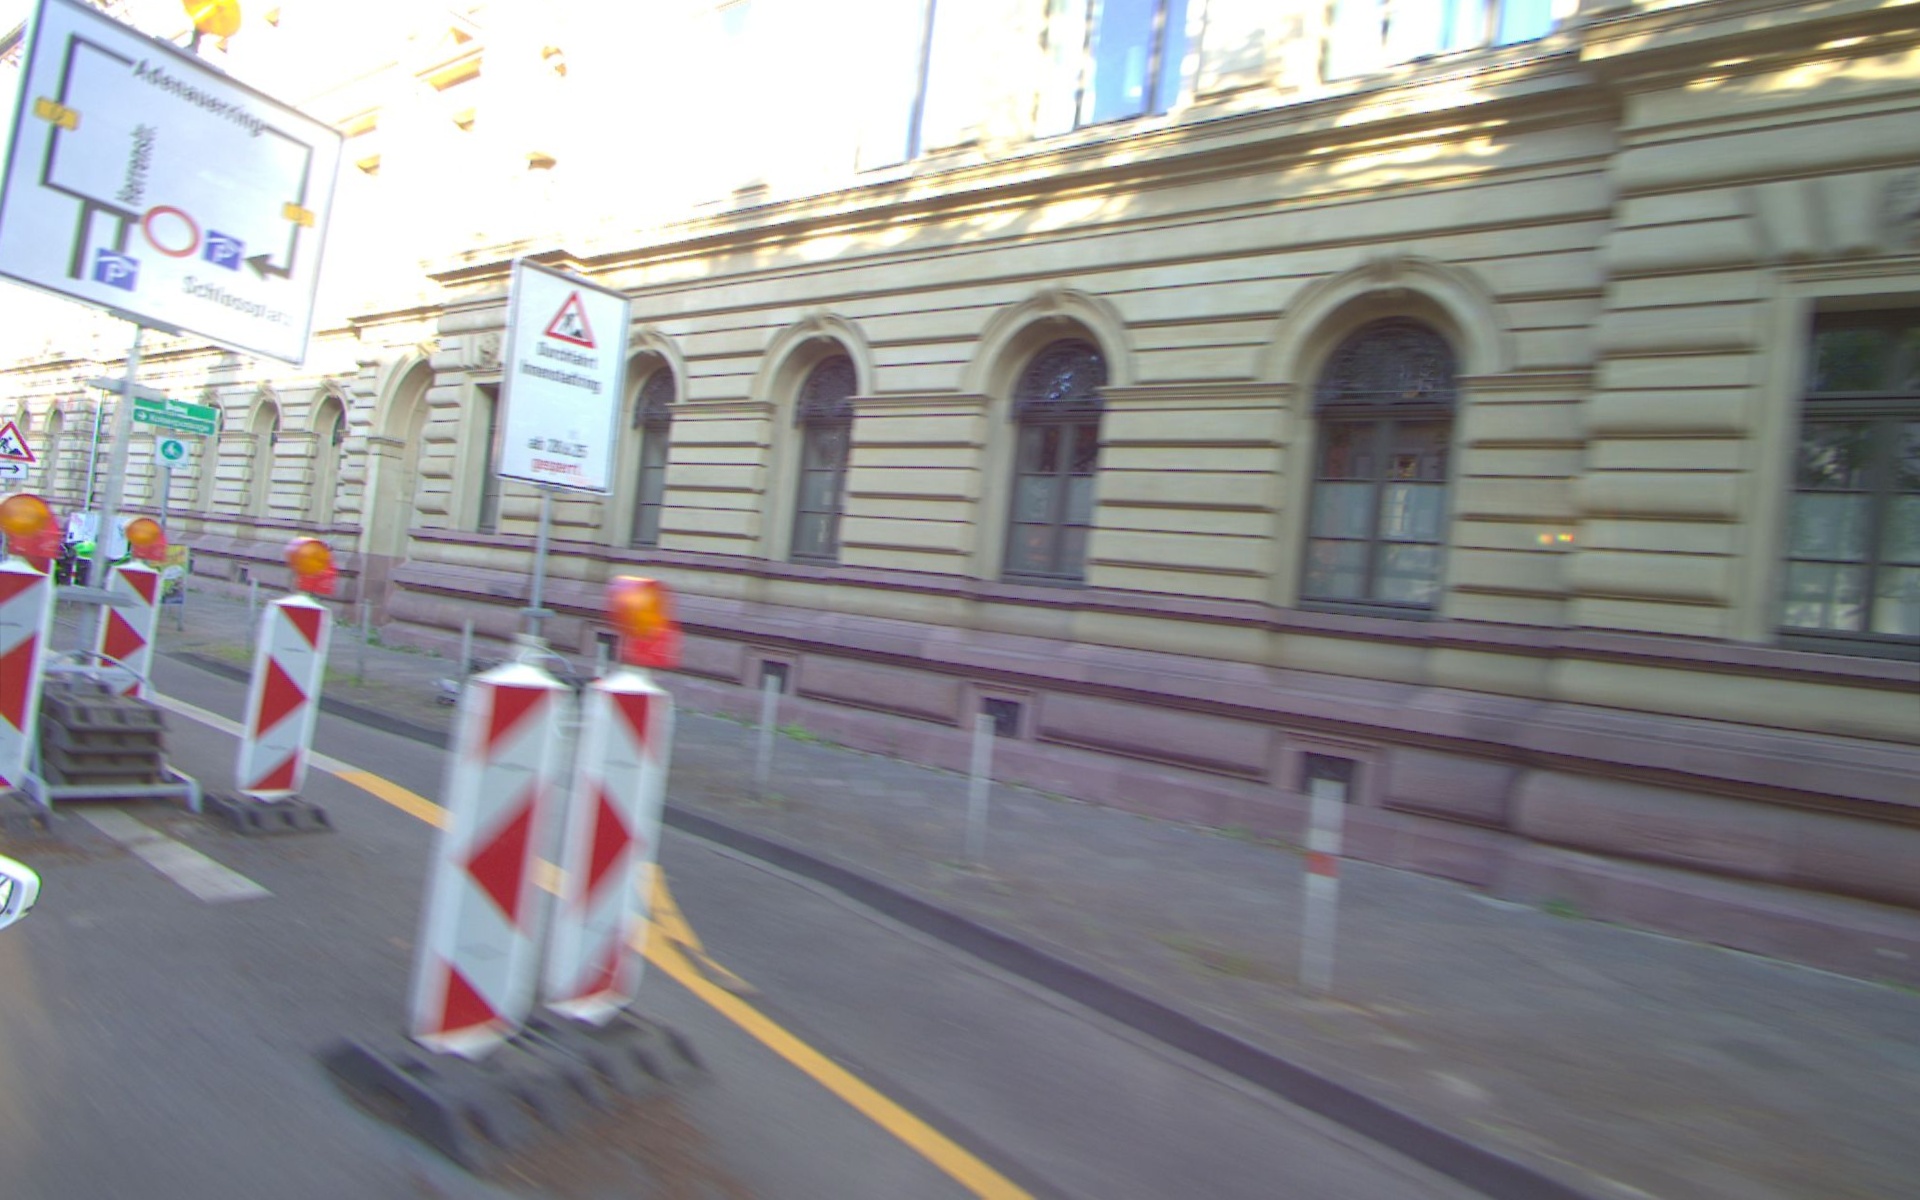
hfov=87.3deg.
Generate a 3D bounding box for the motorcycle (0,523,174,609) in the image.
[{"bbox_3d":[-14.826,-0.566,17.153,2.078,1.231,0.705,5,1,-27],"label":"motorcycle"}]

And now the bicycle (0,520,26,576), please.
[{"bbox_3d":[-21.575,-1.202,22.327,1.913,1.149,0.827,7,2,35],"label":"bicycle"}]
